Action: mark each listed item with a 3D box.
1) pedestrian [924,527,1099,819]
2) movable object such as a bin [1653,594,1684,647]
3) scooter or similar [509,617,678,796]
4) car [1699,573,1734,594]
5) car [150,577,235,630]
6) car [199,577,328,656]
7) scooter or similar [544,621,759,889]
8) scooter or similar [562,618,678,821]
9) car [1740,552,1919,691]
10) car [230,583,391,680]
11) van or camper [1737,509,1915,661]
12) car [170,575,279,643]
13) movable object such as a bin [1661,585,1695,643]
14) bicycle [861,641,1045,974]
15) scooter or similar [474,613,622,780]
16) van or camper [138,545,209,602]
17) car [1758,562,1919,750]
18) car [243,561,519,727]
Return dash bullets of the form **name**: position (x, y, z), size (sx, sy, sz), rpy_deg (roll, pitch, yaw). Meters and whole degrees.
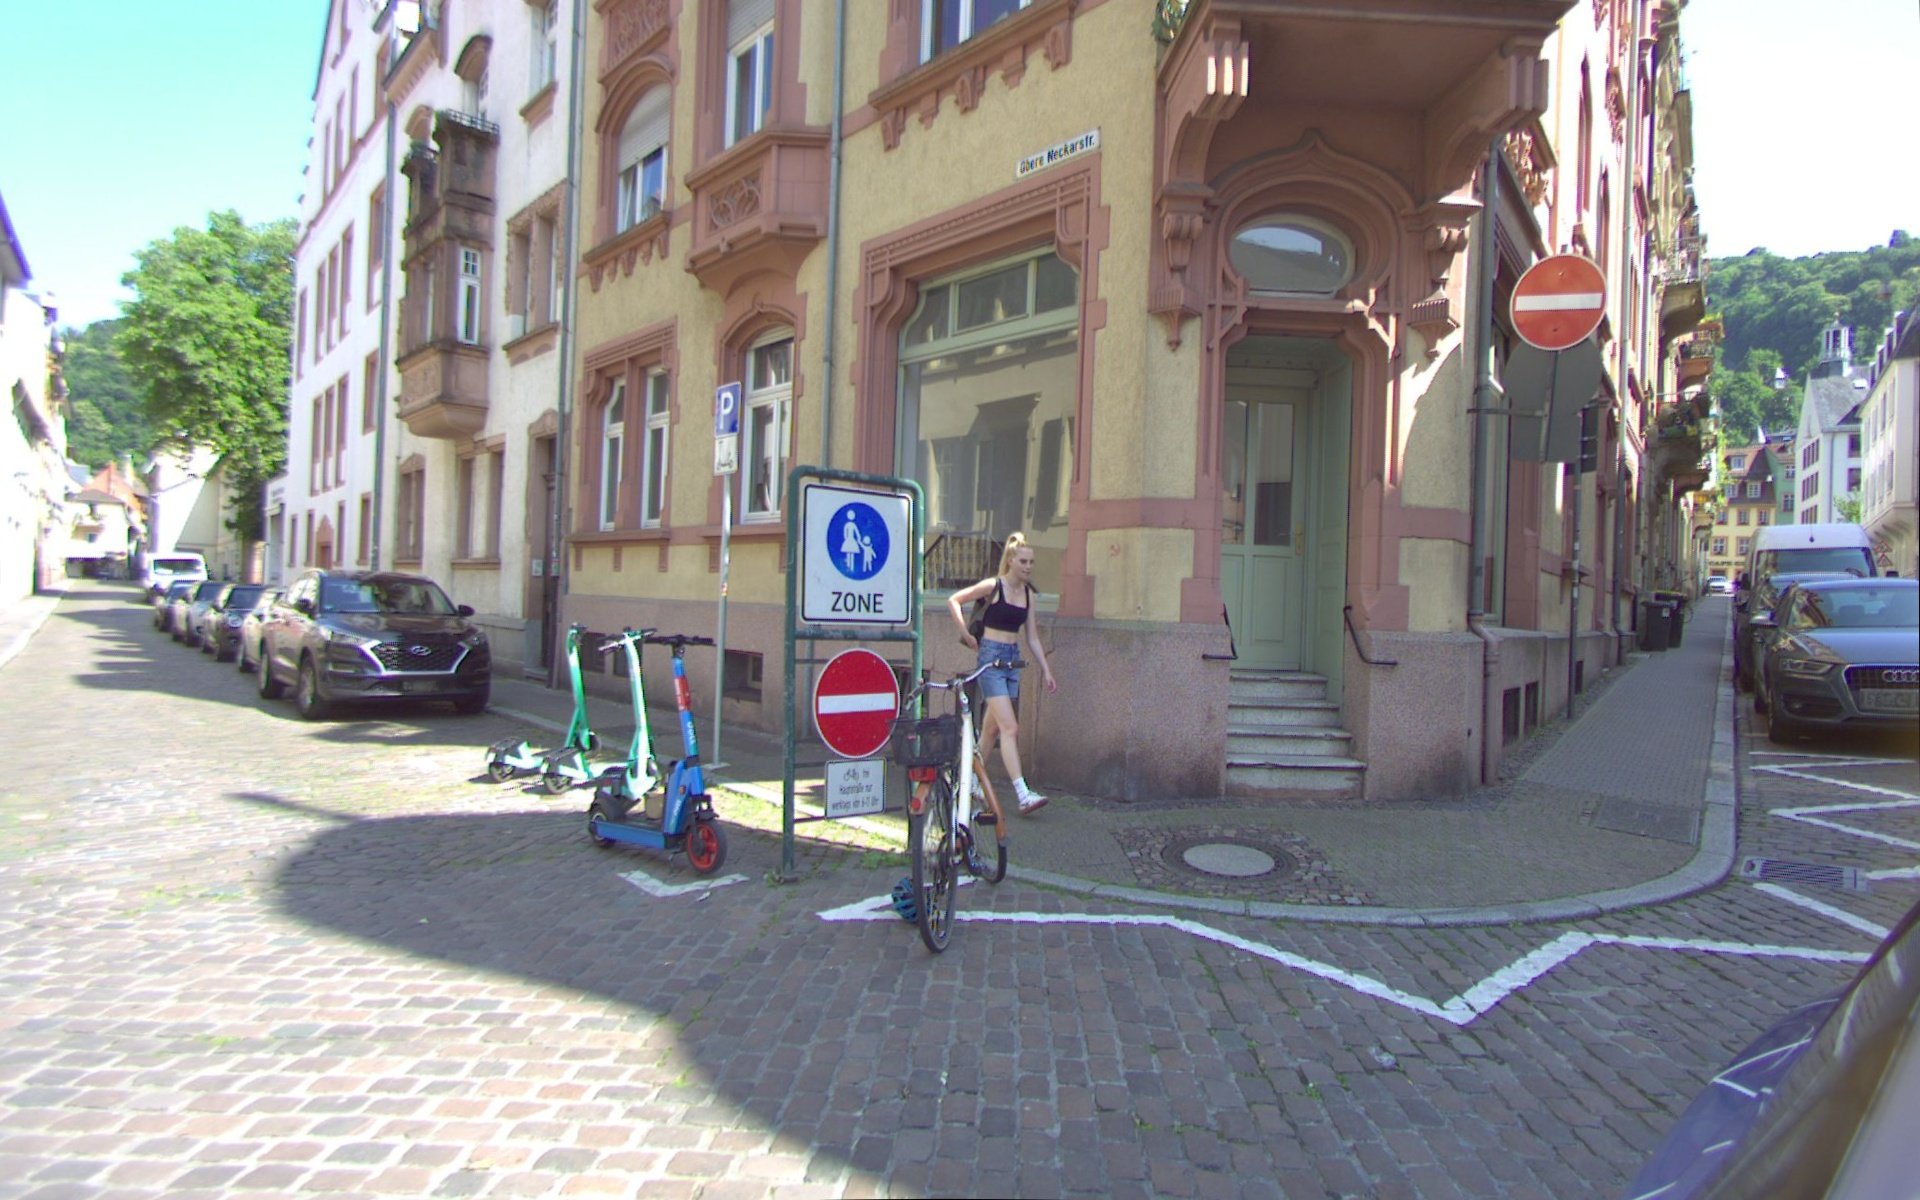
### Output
- **pedestrian**: position (0.331, 0.427, 6.715), size (0.613, 1.780, 0.979), rpy_deg (-3, 2, -43)
- **movable object such as a bin**: position (13.151, 0.382, 18.788), size (0.437, 0.970, 0.345), rpy_deg (1, -1, 39)
- **scooter or similar**: position (-2.747, 0.751, 7.684), size (0.409, 1.224, 1.222), rpy_deg (1, 0, 28)
- **car**: position (65.275, -1.397, 87.339), size (1.984, 1.683, 3.956), rpy_deg (2, 0, 31)
- **car**: position (-22.088, 0.068, 29.079), size (1.682, 1.413, 3.329), rpy_deg (1, 1, -42)
- **car**: position (-13.712, 0.271, 19.860), size (1.682, 1.413, 3.329), rpy_deg (1, 1, -42)
- **scooter or similar**: position (-1.677, 0.765, 5.447), size (1.183, 1.251, 0.437), rpy_deg (2, 0, 35)
- **scooter or similar**: position (-2.282, 0.753, 6.893), size (0.336, 1.224, 1.190), rpy_deg (2, 0, 1)
- **car**: position (12.428, 0.245, 14.653), size (1.752, 1.727, 3.946), rpy_deg (-2, 0, 38)
- **car**: position (-10.512, 0.434, 16.295), size (1.682, 1.375, 3.329), rpy_deg (1, 1, -42)
- **van or camper**: position (17.073, -0.383, 20.295), size (2.214, 2.551, 6.679), rpy_deg (2, 3, 37)
- **car**: position (-16.742, 0.157, 22.979), size (1.682, 1.413, 3.329), rpy_deg (1, 1, -42)
- **movable object such as a bin**: position (13.932, 0.270, 19.639), size (0.515, 1.103, 0.415), rpy_deg (1, -1, 39)
- **bicycle**: position (0.042, 0.833, 4.801), size (0.497, 1.160, 1.787), rpy_deg (2, 1, 11)
- **scooter or similar**: position (-3.263, 0.721, 8.101), size (0.338, 1.224, 1.181), rpy_deg (1, 0, 22)
- **van or camper**: position (-34.944, -1.168, 44.910), size (2.148, 2.351, 5.352), rpy_deg (1, 1, -42)
- **car**: position (9.393, 0.441, 10.289), size (1.851, 1.603, 4.204), rpy_deg (0, 1, 37)
- **car**: position (-7.123, 0.406, 12.277), size (1.967, 1.663, 3.990), rpy_deg (1, 1, -44)
